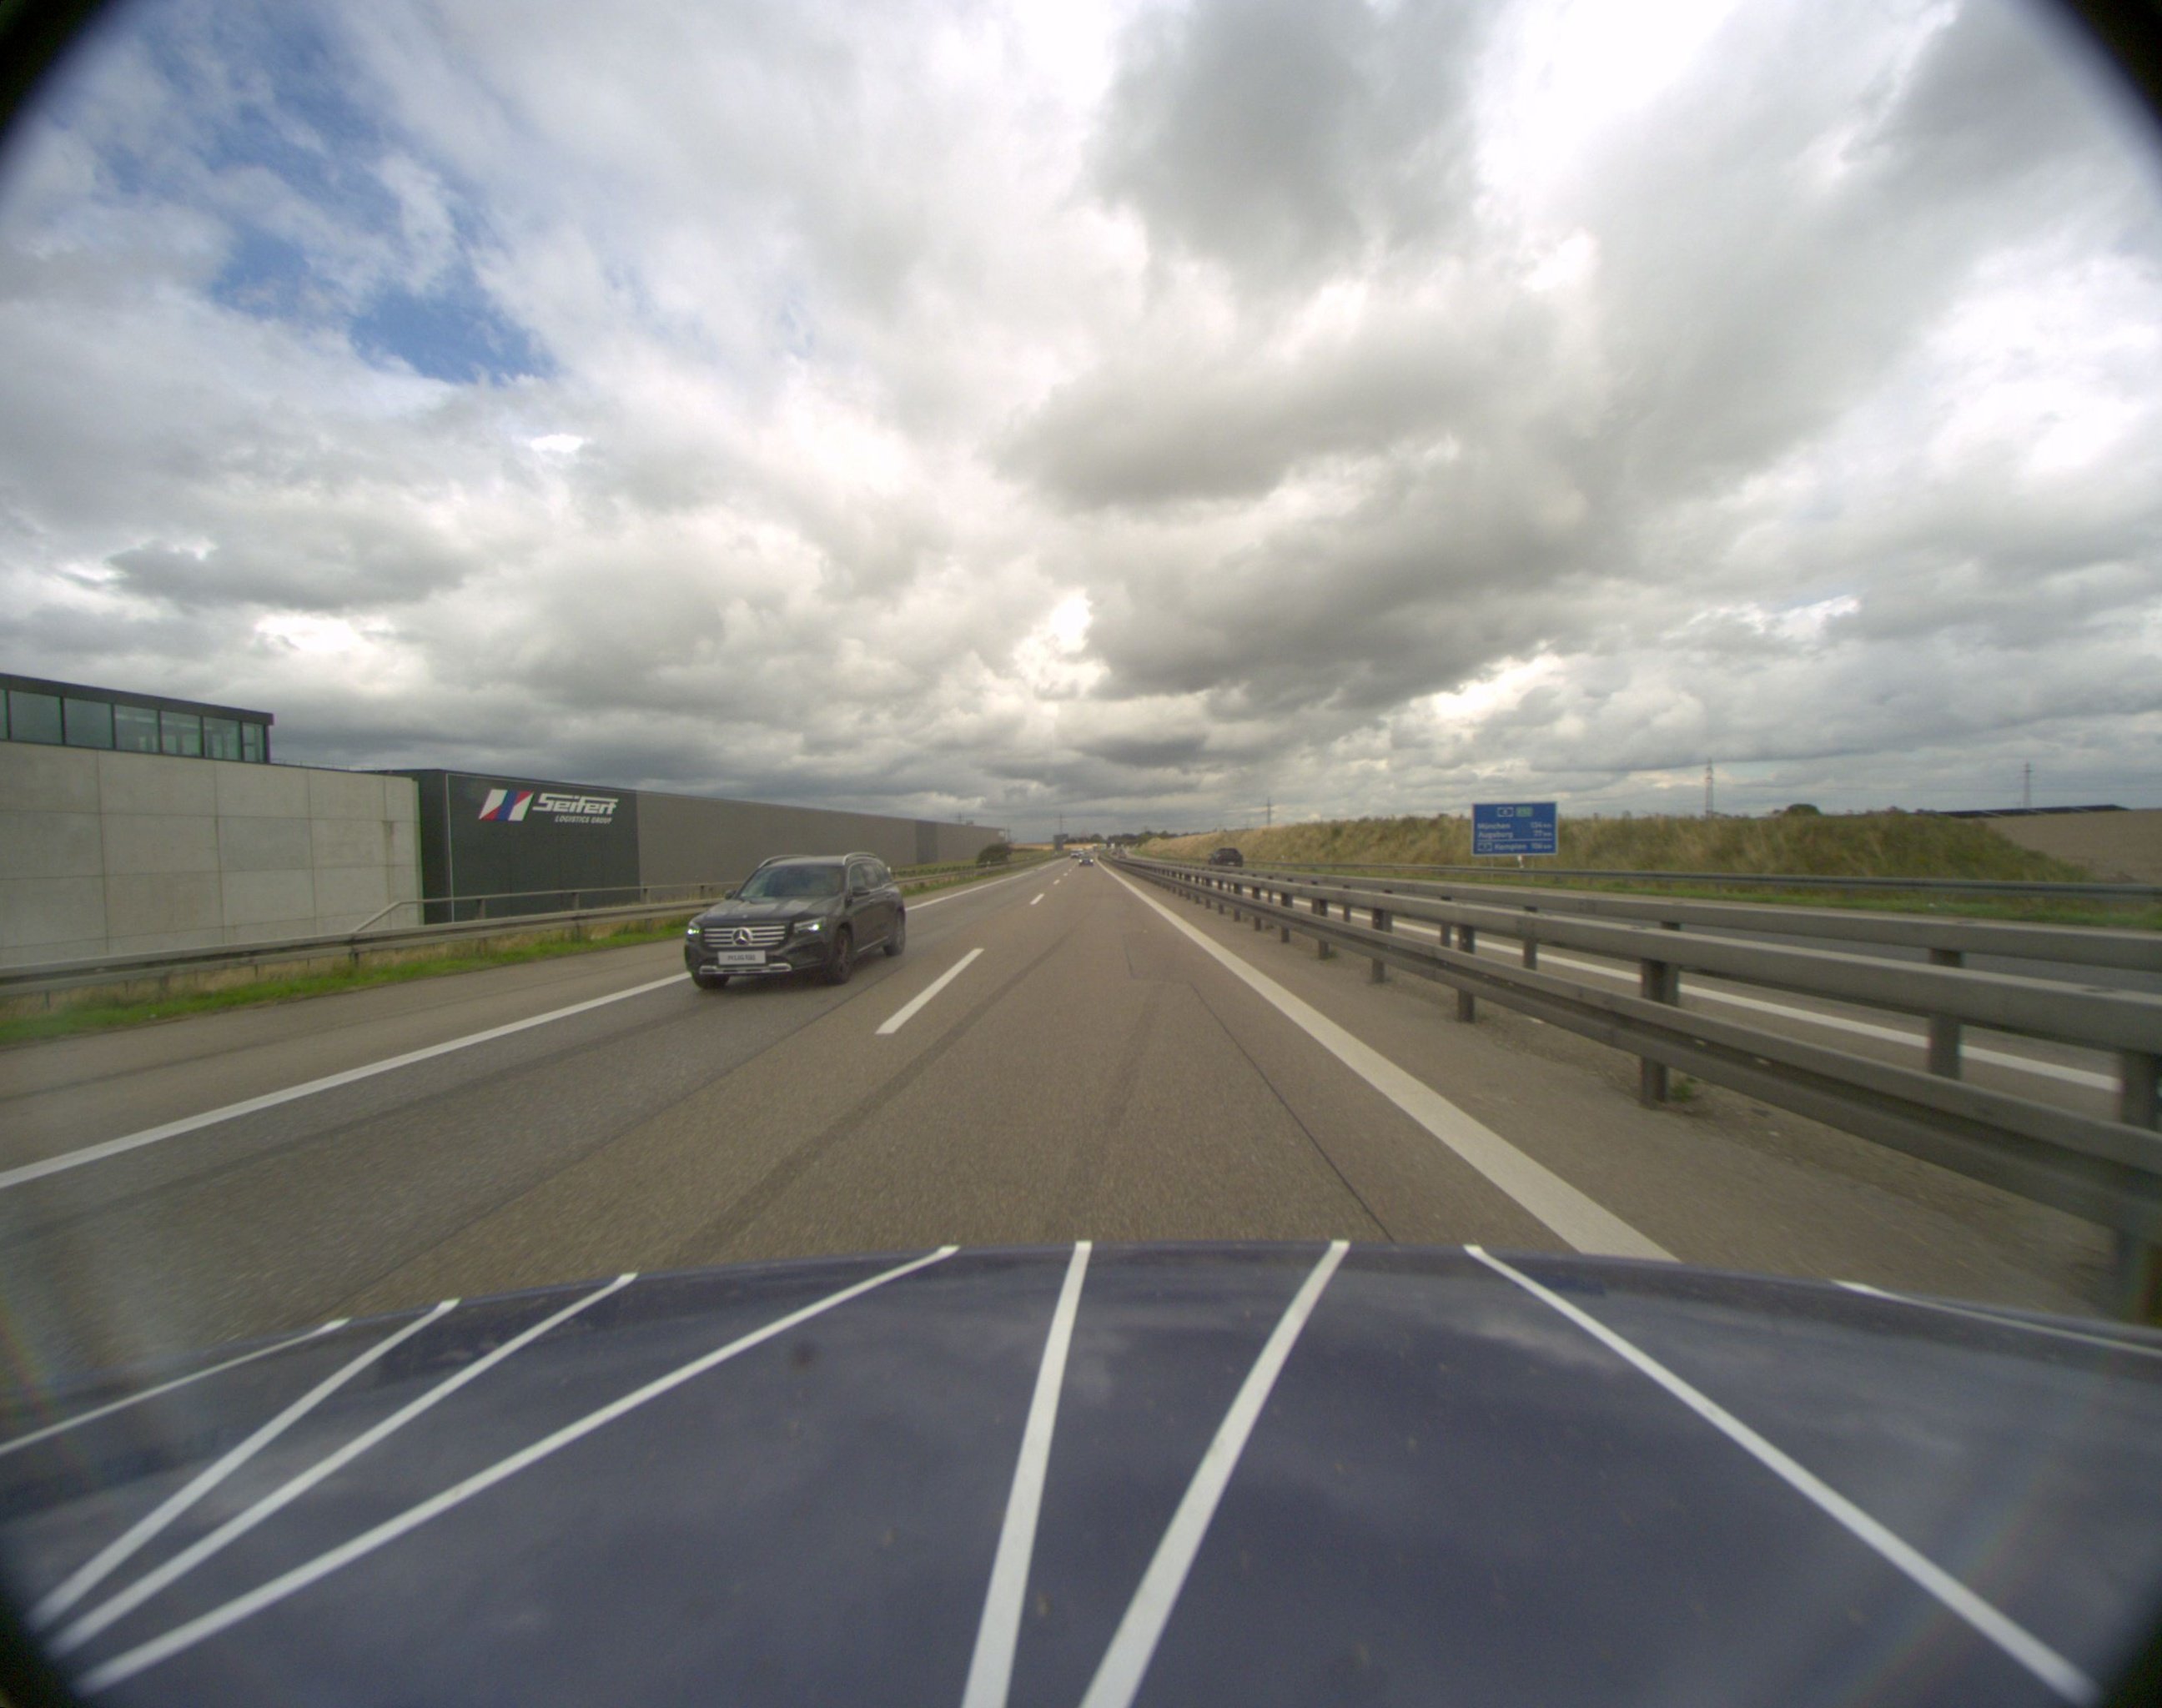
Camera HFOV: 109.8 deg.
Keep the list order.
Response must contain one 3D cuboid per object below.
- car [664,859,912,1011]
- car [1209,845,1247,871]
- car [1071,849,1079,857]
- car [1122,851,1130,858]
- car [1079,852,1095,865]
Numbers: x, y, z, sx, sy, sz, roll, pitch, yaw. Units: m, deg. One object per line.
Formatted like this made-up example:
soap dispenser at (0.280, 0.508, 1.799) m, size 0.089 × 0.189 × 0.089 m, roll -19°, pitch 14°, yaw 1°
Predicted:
car at (-3.828, 0.944, 10.872) m, size 1.838 × 1.600 × 4.359 m, roll 0°, pitch 1°, yaw 0°
car at (12.042, 0.284, 62.638) m, size 1.998 × 2.002 × 6.101 m, roll -1°, pitch 0°, yaw 0°
car at (-1.458, -0.168, 197.962) m, size 1.998 × 2.002 × 3.999 m, roll -1°, pitch 1°, yaw 1°
car at (10.915, 0.082, 184.778) m, size 1.911 × 1.504 × 4.728 m, roll -1°, pitch 1°, yaw 1°
car at (0.864, 0.610, 101.683) m, size 1.998 × 1.696 × 4.662 m, roll -3°, pitch 0°, yaw 1°
